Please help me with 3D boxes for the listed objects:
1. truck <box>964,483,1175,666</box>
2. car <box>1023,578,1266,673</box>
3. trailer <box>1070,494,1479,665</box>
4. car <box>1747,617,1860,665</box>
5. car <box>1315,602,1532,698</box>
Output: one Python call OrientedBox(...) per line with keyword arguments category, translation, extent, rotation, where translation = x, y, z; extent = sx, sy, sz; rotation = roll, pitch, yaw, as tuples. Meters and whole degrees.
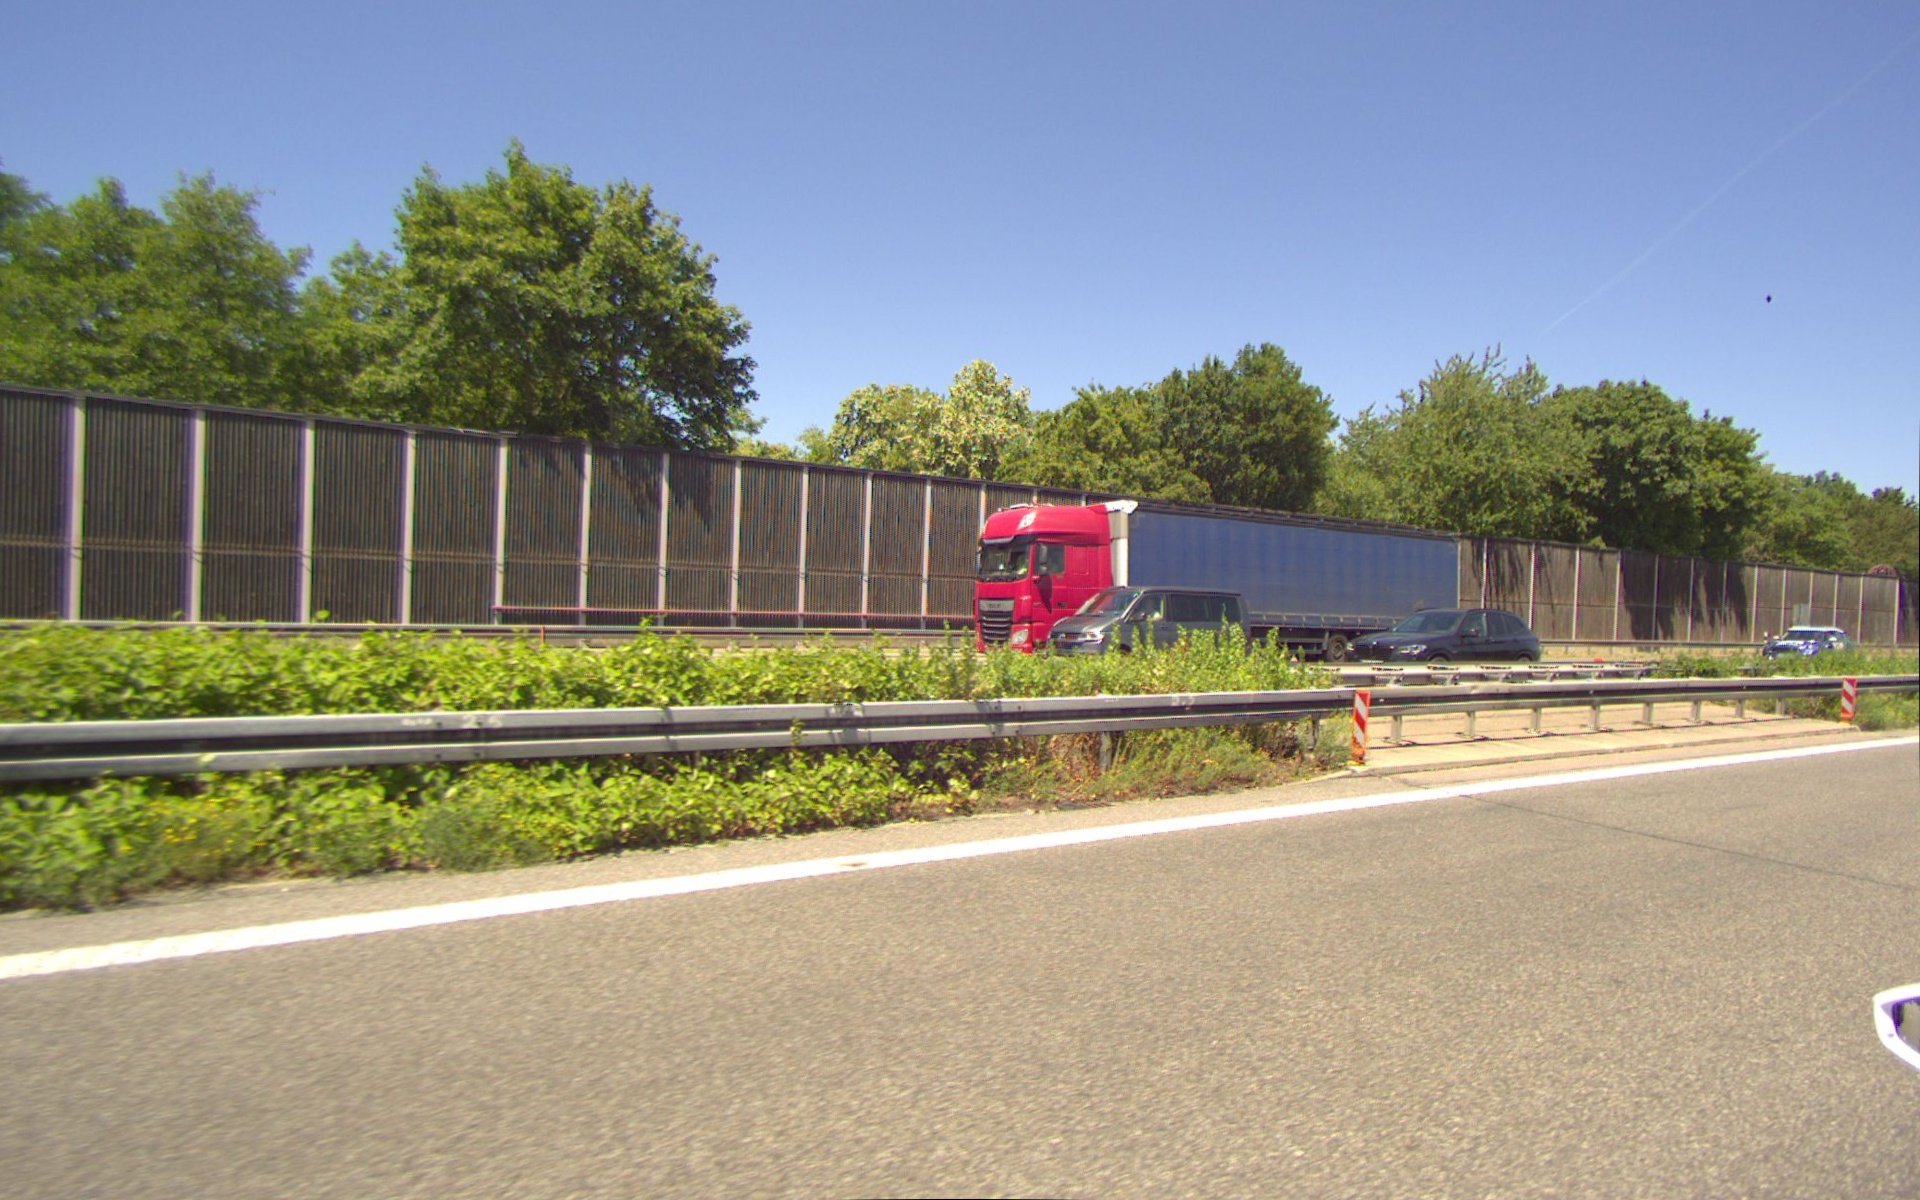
OrientedBox(category="truck", translation=(2.739, -0.523, 24.999), extent=(4.622, 4.141, 2.475), rotation=(2, -1, -30))
OrientedBox(category="car", translation=(4.062, 0.553, 21.804), extent=(5.160, 1.840, 1.984), rotation=(2, 0, -31))
OrientedBox(category="trailer", translation=(9.623, -0.325, 29.091), extent=(14.105, 4.141, 2.483), rotation=(2, -1, -31))
OrientedBox(category="car", translation=(32.903, 1.580, 39.163), extent=(4.480, 1.743, 1.984), rotation=(2, 0, -31))
OrientedBox(category="car", translation=(9.490, 0.976, 20.520), extent=(4.196, 1.743, 1.984), rotation=(2, 0, -31))
